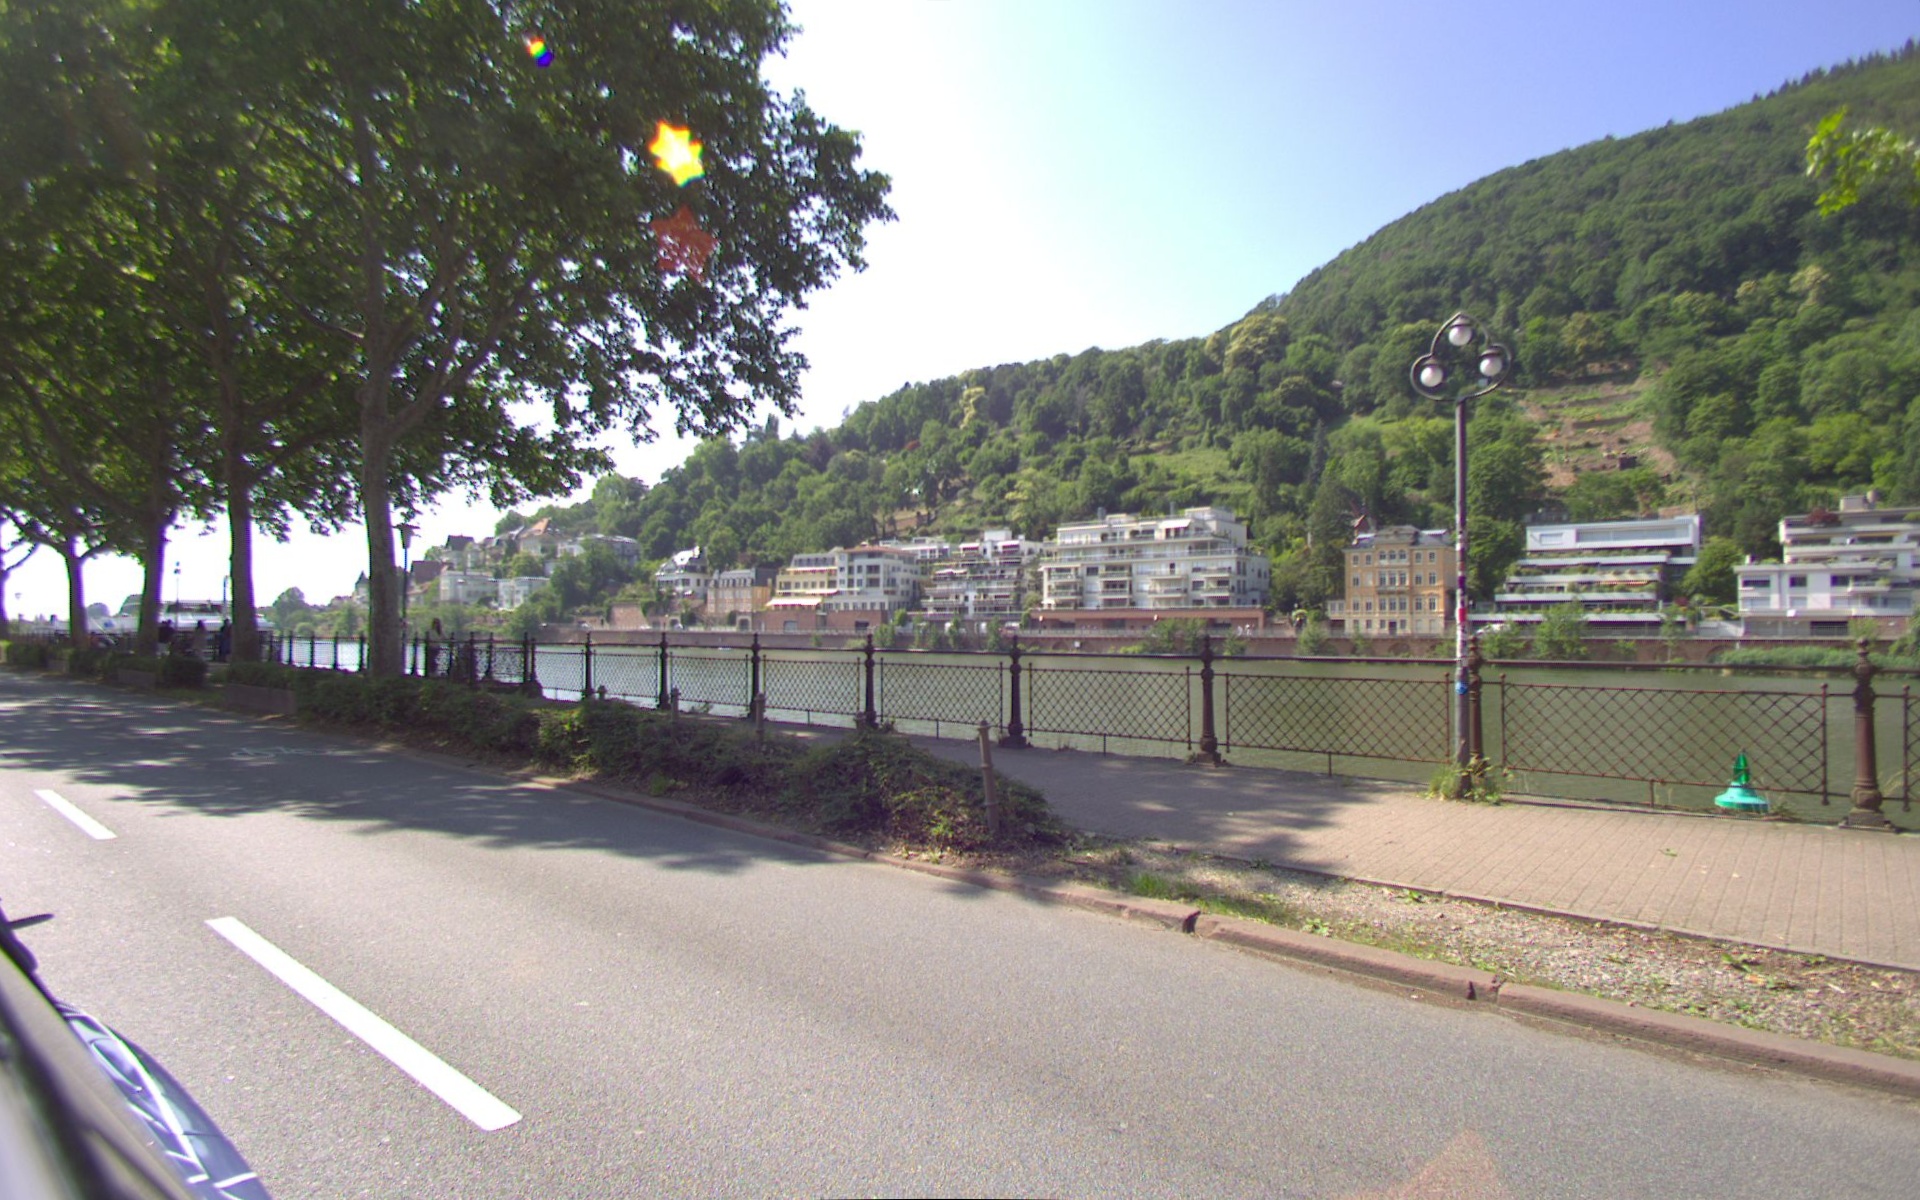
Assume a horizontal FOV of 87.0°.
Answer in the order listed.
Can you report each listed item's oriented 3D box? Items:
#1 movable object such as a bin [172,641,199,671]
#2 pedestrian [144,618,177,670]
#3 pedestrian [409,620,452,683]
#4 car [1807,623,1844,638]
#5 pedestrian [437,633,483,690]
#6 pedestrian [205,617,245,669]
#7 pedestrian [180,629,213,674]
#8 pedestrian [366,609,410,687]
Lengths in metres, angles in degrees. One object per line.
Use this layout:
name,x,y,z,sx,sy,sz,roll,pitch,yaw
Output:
movable object such as a bin,-29.587,2.130,38.652,0.783,1.057,0.694,-1,0,44
pedestrian,-29.271,1.604,37.063,0.928,1.863,0.796,-1,0,41
pedestrian,-15.156,1.461,28.973,0.829,1.771,0.767,-2,-4,40
car,125.953,4.457,147.342,3.998,2.029,1.973,-3,-2,41
pedestrian,-12.666,1.546,25.632,0.770,1.398,0.758,-2,-3,40
pedestrian,-29.313,1.709,40.380,1.032,2.029,1.038,-1,0,-19
pedestrian,-28.709,1.914,38.043,0.885,1.647,1.060,0,0,-44
pedestrian,-14.335,1.202,25.370,0.756,1.915,0.771,3,-4,-42
